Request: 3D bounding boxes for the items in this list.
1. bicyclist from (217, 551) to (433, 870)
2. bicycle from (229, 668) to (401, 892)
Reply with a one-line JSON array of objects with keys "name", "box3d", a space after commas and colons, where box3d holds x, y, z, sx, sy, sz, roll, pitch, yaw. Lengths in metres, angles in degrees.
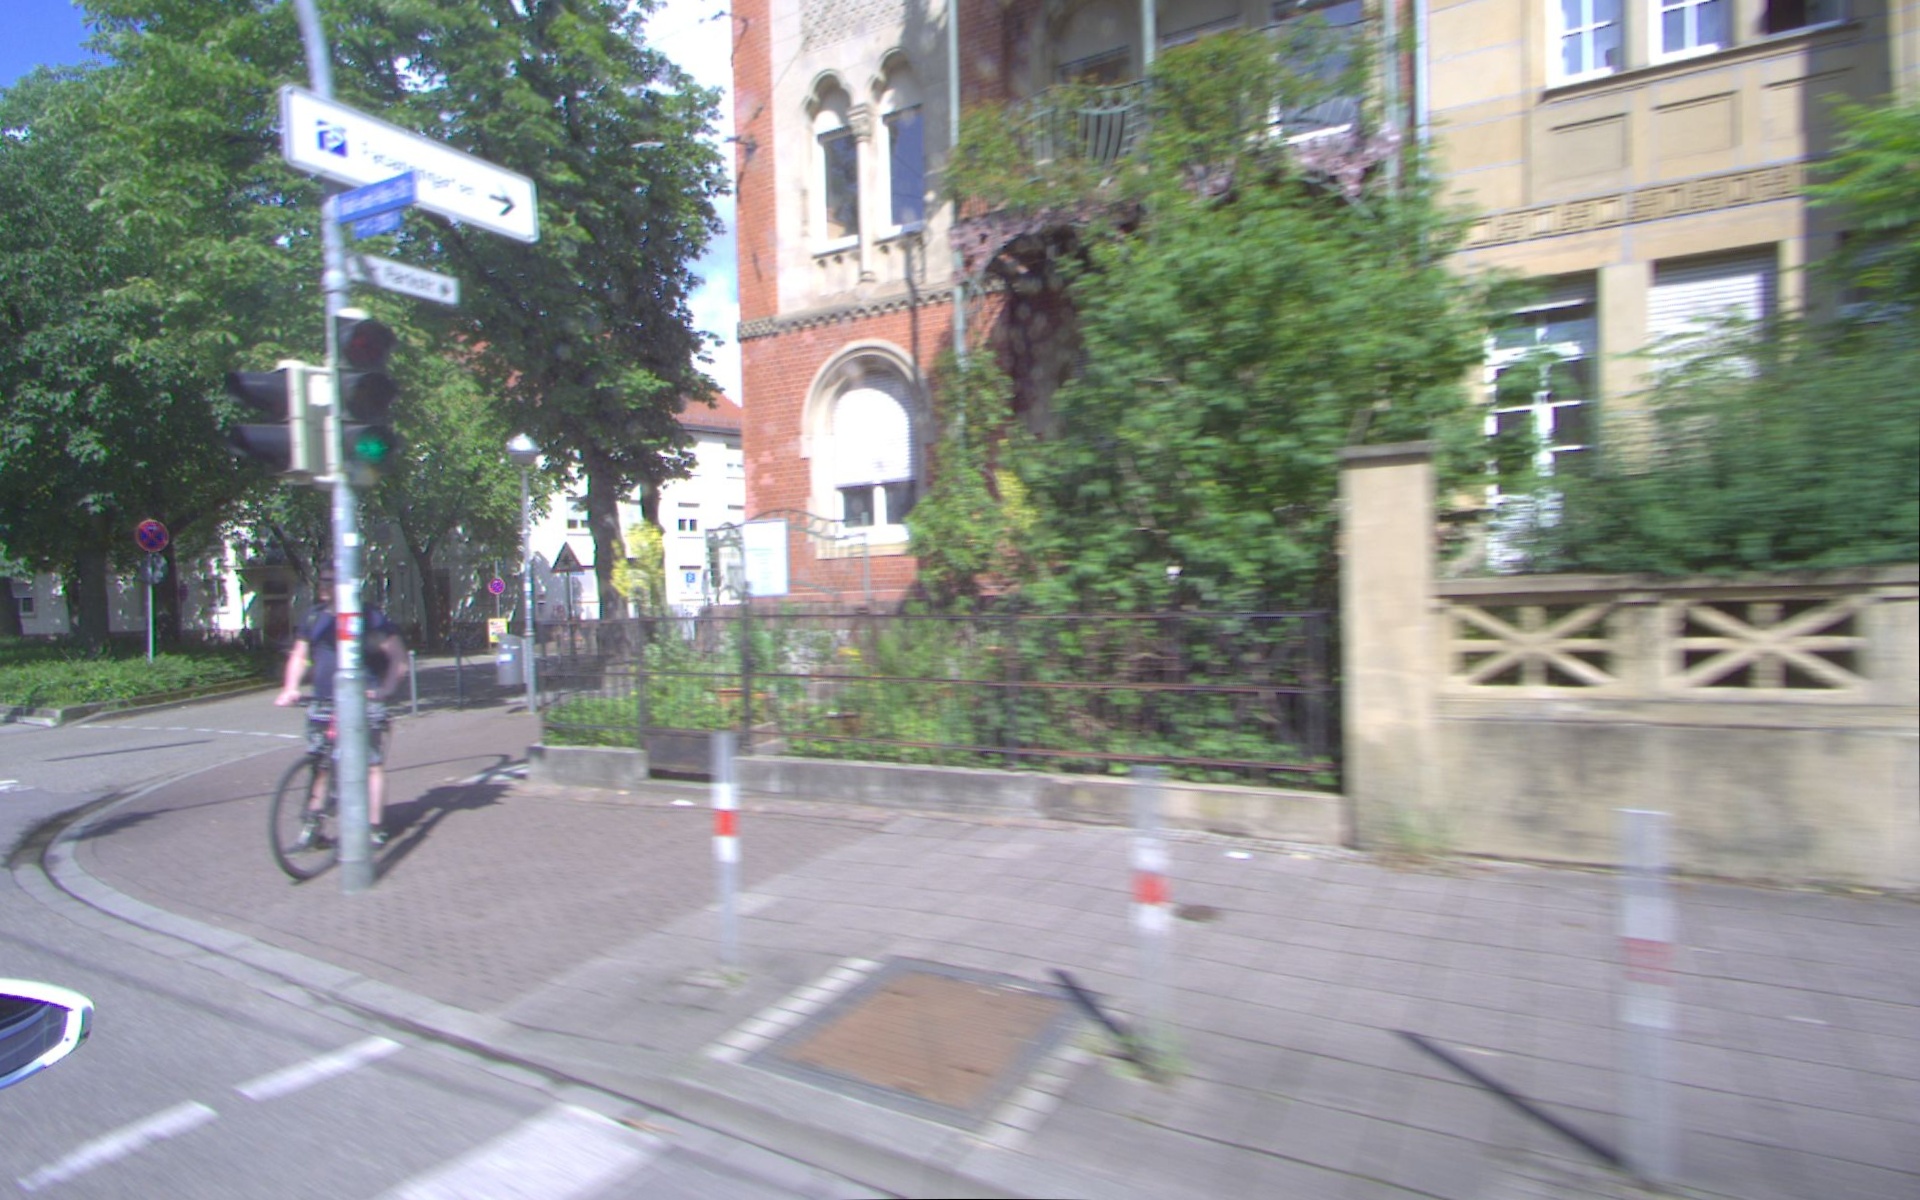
[{"name": "bicyclist", "box3d": [-3.890, 0.649, 6.190, 0.804, 1.843, 0.735, -1, 1, 6]}, {"name": "bicycle", "box3d": [-3.943, 1.020, 6.247, 0.383, 1.049, 1.841, -1, 1, -17]}]
